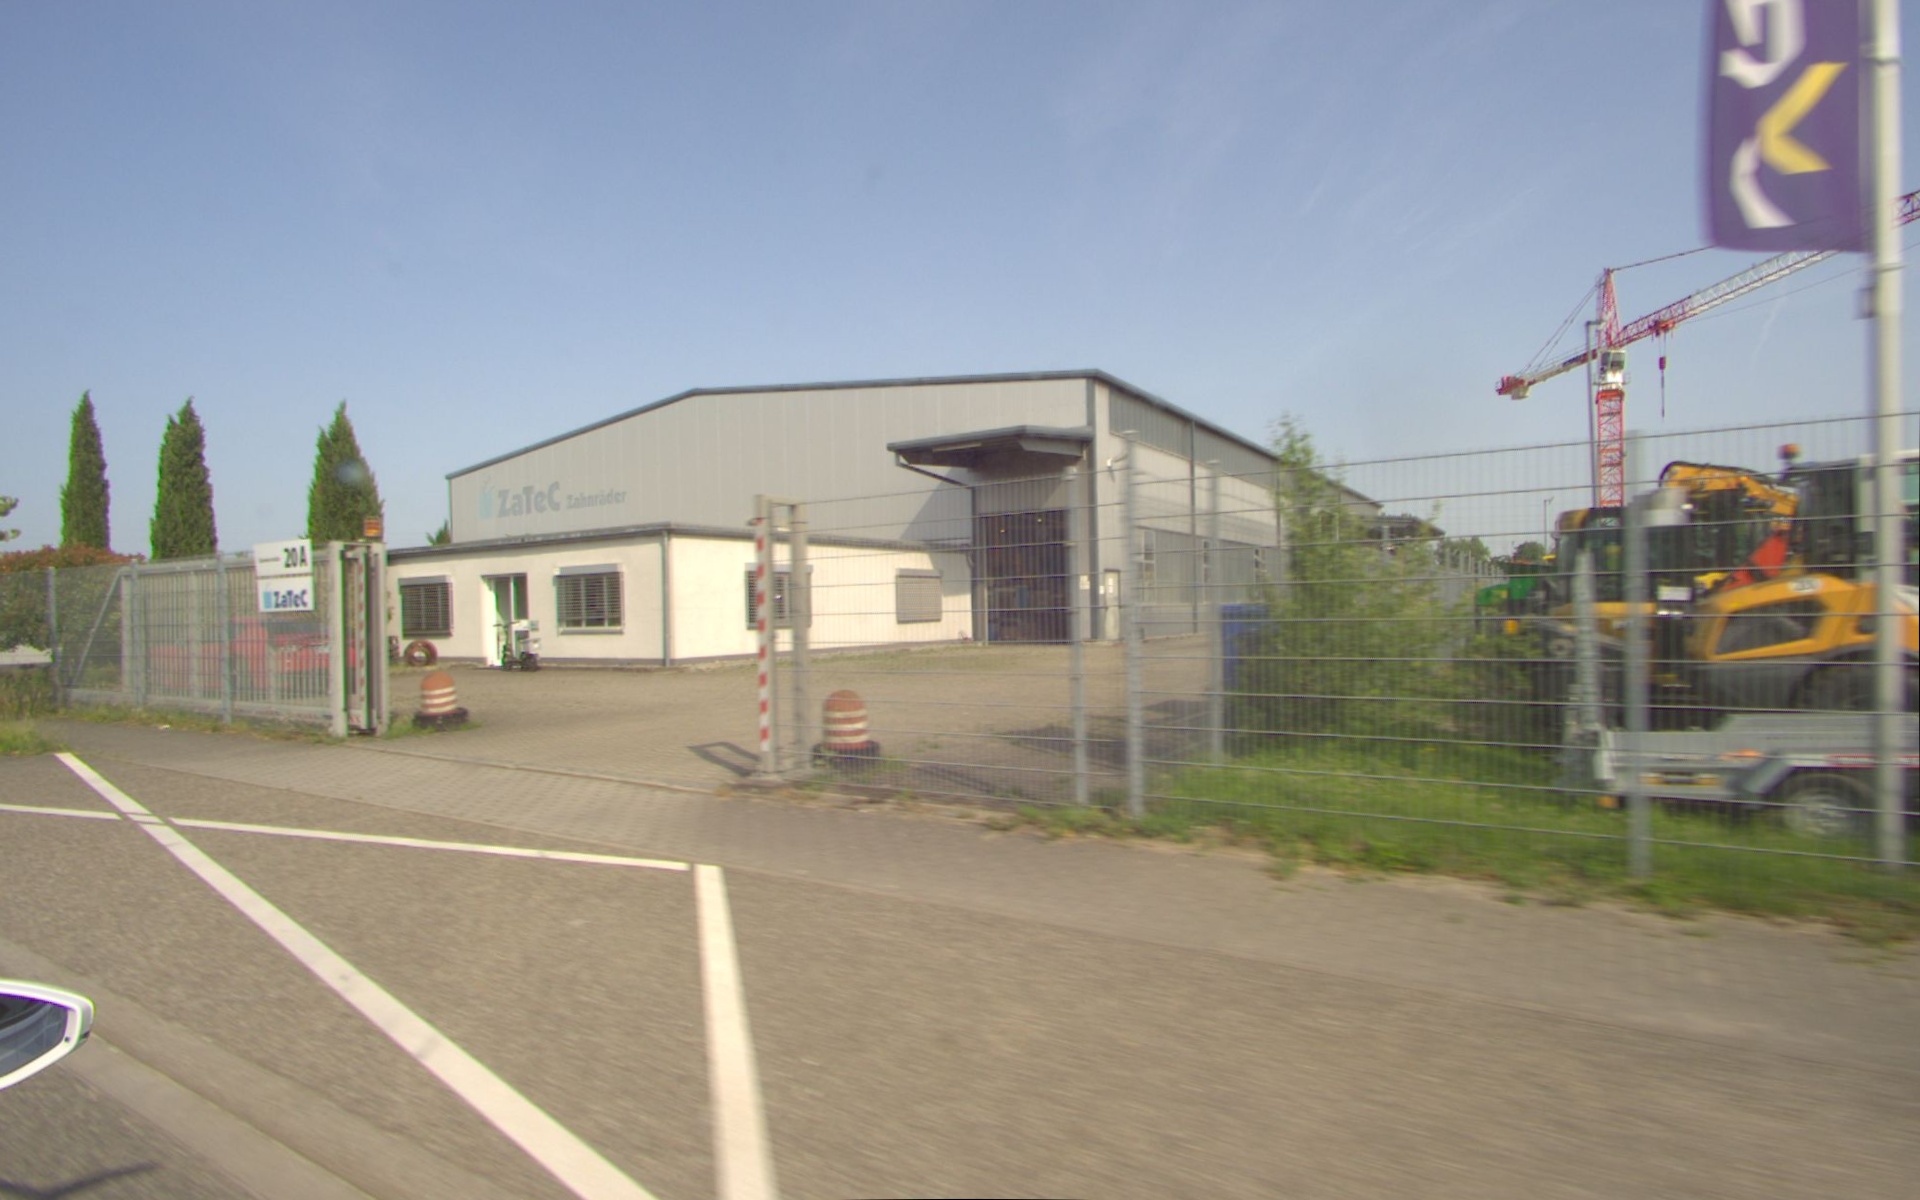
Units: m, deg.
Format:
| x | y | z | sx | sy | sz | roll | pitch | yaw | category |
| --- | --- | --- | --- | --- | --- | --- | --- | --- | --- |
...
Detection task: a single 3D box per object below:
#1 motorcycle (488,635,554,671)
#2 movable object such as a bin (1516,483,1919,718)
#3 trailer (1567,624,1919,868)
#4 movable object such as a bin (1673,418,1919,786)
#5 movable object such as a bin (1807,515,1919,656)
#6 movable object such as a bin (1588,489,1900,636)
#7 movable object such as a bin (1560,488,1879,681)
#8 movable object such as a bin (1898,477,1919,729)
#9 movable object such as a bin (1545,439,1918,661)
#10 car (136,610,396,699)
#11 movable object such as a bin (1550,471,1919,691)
| x | y | z | sx | sy | sz | roll | pitch | yaw | category |
| --- | --- | --- | --- | --- | --- | --- | --- | --- | --- |
| -9.742 | 1.163 | 22.222 | 1.560 | 0.761 | 0.533 | -1 | 1 | 32 | motorcycle |
| 10.112 | 0.026 | 12.583 | 5.265 | 2.524 | 2.915 | -1 | 0 | 33 | movable object such as a bin |
| 6.365 | 0.798 | 5.907 | 4.726 | 1.260 | 2.122 | -1 | 0 | 31 | trailer |
| 8.713 | -0.012 | 7.752 | 5.088 | 2.788 | 1.882 | -1 | 0 | 33 | movable object such as a bin |
| 20.823 | -0.322 | 20.053 | 5.607 | 2.806 | 2.050 | -1 | 1 | 31 | movable object such as a bin |
| 23.408 | -0.993 | 30.444 | 7.094 | 3.981 | 2.462 | -2 | 0 | 29 | movable object such as a bin |
| 13.324 | -0.203 | 17.948 | 4.312 | 3.071 | 1.988 | -1 | 0 | 33 | movable object such as a bin |
| 11.429 | -0.011 | 8.576 | 4.702 | 2.491 | 1.986 | -1 | 0 | 37 | movable object such as a bin |
| 15.215 | -0.822 | 20.322 | 5.639 | 3.925 | 2.677 | -1 | 0 | 33 | movable object such as a bin |
| -12.271 | 0.902 | 17.645 | 4.701 | 1.375 | 1.878 | -1 | 0 | 29 | car |
| 12.059 | -0.218 | 15.998 | 4.430 | 3.071 | 1.988 | -1 | 0 | 33 | movable object such as a bin |
